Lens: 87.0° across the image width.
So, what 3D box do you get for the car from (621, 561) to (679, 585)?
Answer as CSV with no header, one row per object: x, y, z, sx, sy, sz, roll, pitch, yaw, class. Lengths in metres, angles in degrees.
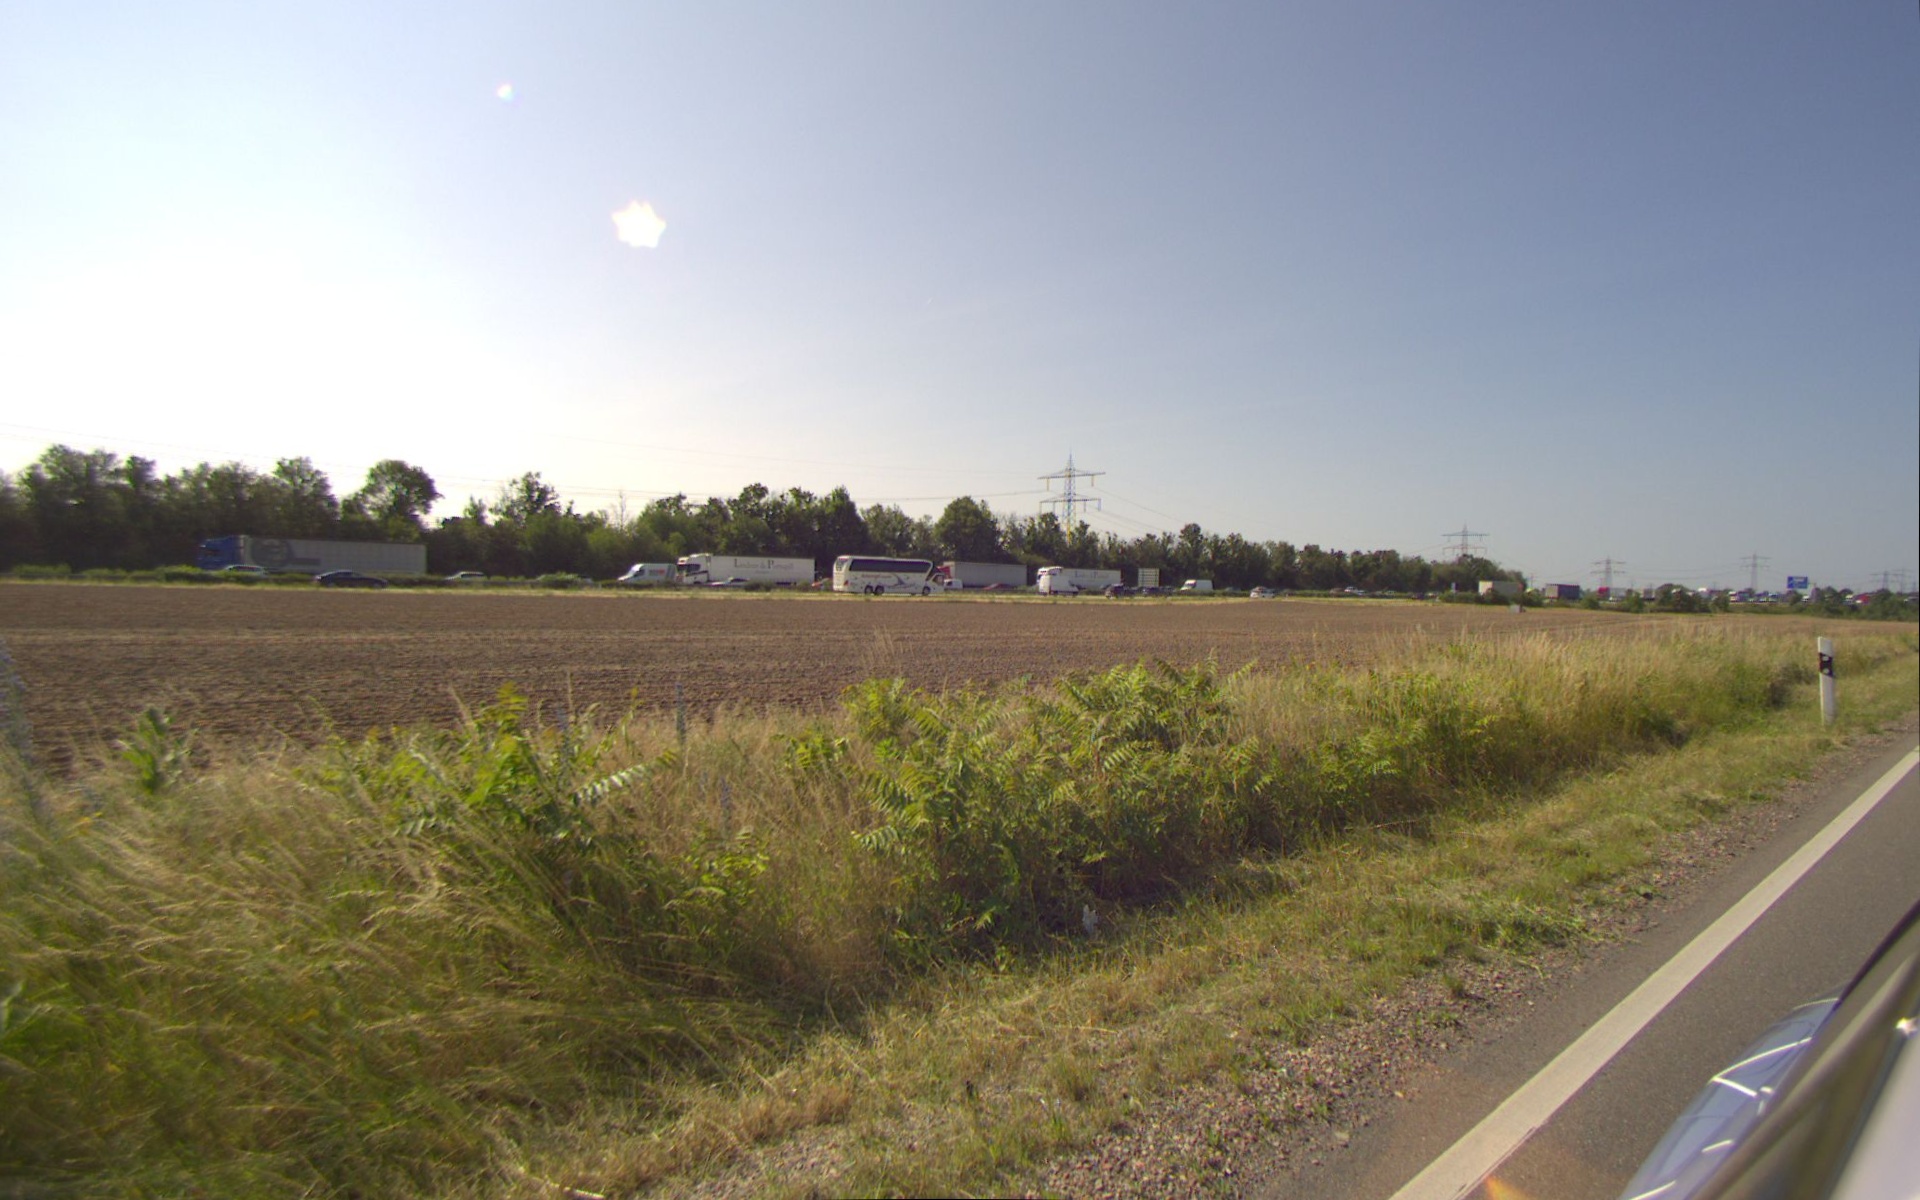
-30.479,-2.647,99.484,5.147,2.228,1.908,1,-1,-42,car

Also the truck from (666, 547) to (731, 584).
-28.285,-3.663,109.635,6.009,3.780,3.078,0,1,-40,truck

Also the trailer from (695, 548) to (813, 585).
-23.034,-3.650,114.133,13.129,3.780,3.078,0,1,-40,trailer

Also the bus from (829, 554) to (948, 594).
-7.387,-2.676,107.980,14.300,3.851,2.466,1,1,-43,bus

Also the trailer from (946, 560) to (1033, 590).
4.127,-3.374,138.314,13.542,3.780,2.950,0,1,-41,trailer

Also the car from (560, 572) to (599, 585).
-35.416,-1.991,94.269,3.126,1.166,1.397,1,-1,-42,car

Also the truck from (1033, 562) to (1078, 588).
13.884,-3.621,146.994,6.003,3.575,3.208,0,2,-41,truck

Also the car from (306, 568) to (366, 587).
-45.636,-1.629,74.030,3.556,1.250,1.548,1,-2,-42,car

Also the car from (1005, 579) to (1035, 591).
7.905,-1.946,133.491,4.023,1.528,1.705,0,0,-41,car

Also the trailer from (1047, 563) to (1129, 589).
19.404,-3.598,151.977,14.822,3.575,3.208,0,2,-42,trailer

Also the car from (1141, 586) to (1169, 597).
27.016,-1.176,139.904,4.022,1.391,1.706,0,0,-41,car

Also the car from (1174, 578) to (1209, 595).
36.707,-2.122,160.530,6.300,2.478,2.041,0,0,-41,car

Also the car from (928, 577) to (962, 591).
-1.830,-2.025,125.076,4.023,1.659,1.705,0,0,-42,car

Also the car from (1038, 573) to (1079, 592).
12.358,-2.179,127.313,5.425,2.402,1.996,0,-1,-41,car

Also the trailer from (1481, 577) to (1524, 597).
111.099,-2.676,207.123,13.477,3.897,3.109,0,0,-41,trailer

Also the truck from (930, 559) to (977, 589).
-0.846,-3.392,133.888,5.767,3.780,2.950,0,1,-41,truck

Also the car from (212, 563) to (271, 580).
-54.725,-2.123,77.086,3.518,1.166,1.397,1,-1,-41,car

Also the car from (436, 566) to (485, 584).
-43.321,-2.134,87.751,3.540,1.403,1.493,1,-1,-42,car

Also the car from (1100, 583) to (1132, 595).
19.691,-1.385,127.327,4.136,1.492,1.706,0,0,-41,car

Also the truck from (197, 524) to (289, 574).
-58.793,-4.106,83.029,5.978,3.780,3.078,0,1,-40,truck

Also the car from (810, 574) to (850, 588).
-14.617,-2.100,113.723,4.174,1.403,1.853,1,-1,-42,car

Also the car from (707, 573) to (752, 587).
-24.171,-2.108,106.241,4.174,1.403,1.853,1,-1,-42,car

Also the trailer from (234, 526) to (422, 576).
-54.049,-4.097,87.010,13.387,3.780,3.078,0,1,-40,trailer

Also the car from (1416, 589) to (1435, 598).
84.943,-1.206,184.737,4.124,1.562,1.705,-2,1,-41,car

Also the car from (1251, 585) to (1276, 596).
44.898,-1.348,149.709,4.124,1.562,1.705,-2,1,-41,car

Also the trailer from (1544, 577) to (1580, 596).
133.994,-2.897,225.109,14.343,3.850,3.075,1,0,-43,trailer
